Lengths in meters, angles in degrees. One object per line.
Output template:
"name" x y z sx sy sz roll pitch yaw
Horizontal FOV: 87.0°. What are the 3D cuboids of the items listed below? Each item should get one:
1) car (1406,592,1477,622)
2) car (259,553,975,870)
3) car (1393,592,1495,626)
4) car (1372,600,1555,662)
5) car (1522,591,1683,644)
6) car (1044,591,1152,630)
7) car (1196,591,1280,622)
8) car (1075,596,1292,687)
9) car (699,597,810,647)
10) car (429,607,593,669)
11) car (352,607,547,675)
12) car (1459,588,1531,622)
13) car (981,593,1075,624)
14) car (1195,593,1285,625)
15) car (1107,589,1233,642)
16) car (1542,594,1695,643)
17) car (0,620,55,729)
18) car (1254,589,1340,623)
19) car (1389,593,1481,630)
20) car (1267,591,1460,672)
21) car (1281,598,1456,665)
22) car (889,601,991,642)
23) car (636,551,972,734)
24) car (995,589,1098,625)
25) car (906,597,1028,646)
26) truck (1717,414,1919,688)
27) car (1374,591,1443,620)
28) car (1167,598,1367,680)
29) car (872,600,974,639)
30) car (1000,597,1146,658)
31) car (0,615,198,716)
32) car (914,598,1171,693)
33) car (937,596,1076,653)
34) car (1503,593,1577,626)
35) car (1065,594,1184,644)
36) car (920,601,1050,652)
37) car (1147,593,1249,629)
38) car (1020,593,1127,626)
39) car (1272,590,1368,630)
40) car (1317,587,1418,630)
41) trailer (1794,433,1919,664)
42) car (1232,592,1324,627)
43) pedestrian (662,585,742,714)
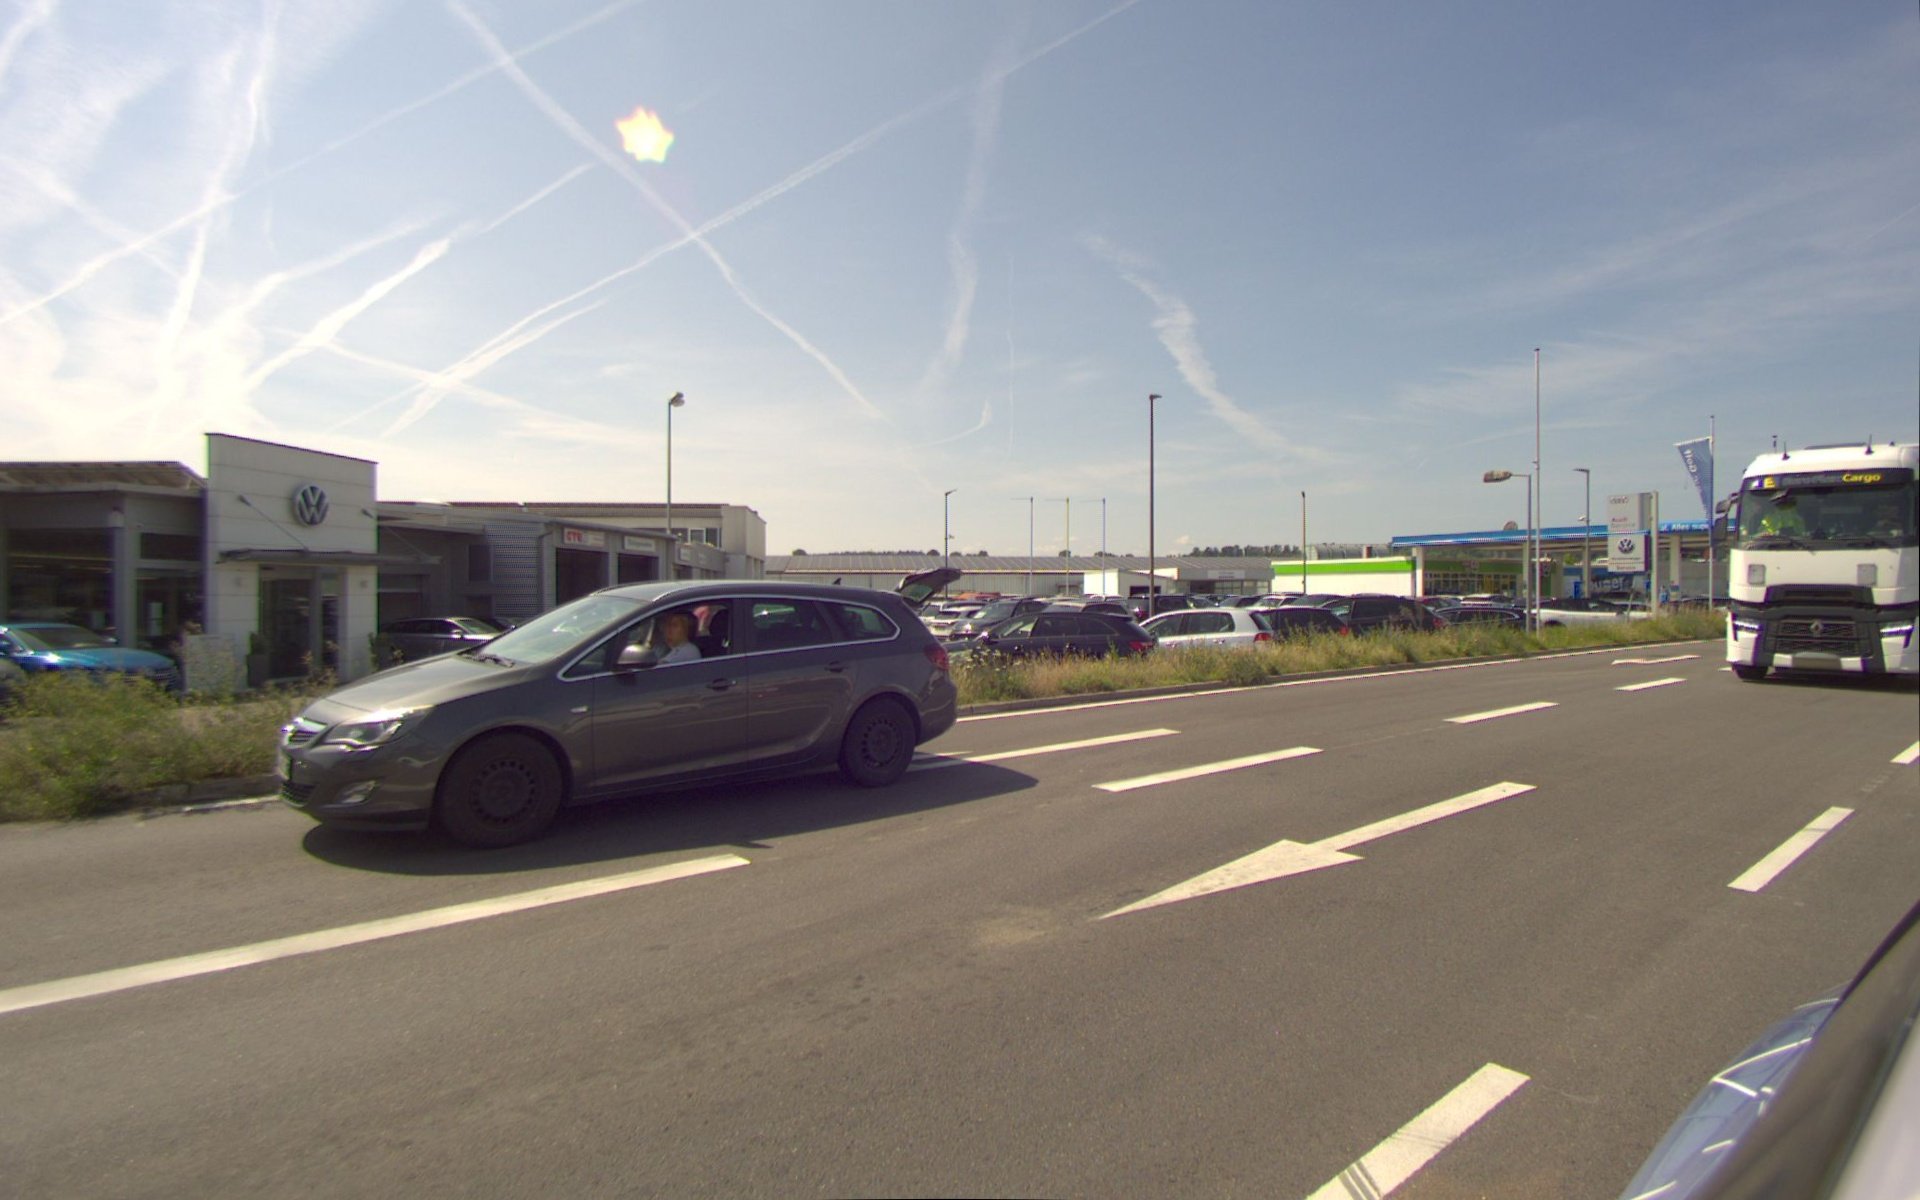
"car" 26.870 0.353 56.490 4.158 1.600 1.776 0 1 -35
"car" -2.161 0.514 7.144 4.374 1.538 1.996 0 1 -42
"car" 25.075 0.429 52.565 1.742 1.600 4.540 0 1 -33
"car" 14.420 0.836 29.266 4.479 1.600 1.765 1 1 19
"car" 22.324 0.569 35.388 4.488 1.675 1.762 1 1 24
"car" 5.792 0.423 42.652 4.118 1.560 1.827 0 1 -19
"car" 15.605 0.374 56.800 4.444 1.675 1.779 0 1 -25
"car" 4.383 0.742 19.843 3.953 1.578 1.700 1 1 22
"car" -8.831 0.894 43.475 4.484 1.973 1.763 1 1 22
"car" -13.177 1.079 29.837 4.095 1.675 1.775 1 1 4
"car" -13.828 1.087 27.561 4.468 1.675 1.775 1 1 4
"car" 28.861 0.241 54.543 4.179 1.734 1.714 0 1 -35
"car" 3.458 0.412 51.771 4.442 1.493 1.827 0 1 -19
"car" 13.566 0.416 48.891 4.452 1.459 1.776 0 1 -35
"car" 7.269 0.487 34.792 4.454 1.675 1.775 0 1 -38
"car" 24.225 0.641 37.419 4.490 1.675 1.761 1 1 25
"car" -15.369 1.027 14.140 4.142 1.475 1.890 1 1 9
"car" 17.383 0.293 52.204 4.448 1.675 1.777 0 1 -32
"car" 21.488 0.484 45.738 4.452 1.600 1.776 0 1 -35
"car" 9.120 0.672 23.210 3.946 1.675 1.766 1 1 17
"car" 10.263 0.743 25.537 3.957 1.476 1.761 1 1 25
"car" -0.826 0.900 44.429 4.464 1.675 1.771 0 1 -45
"car" -2.142 0.476 13.973 4.295 2.240 1.752 1 1 20
"car" 4.081 0.325 47.827 4.442 1.603 1.827 0 1 -19
"car" 0.309 0.786 38.788 4.452 1.751 1.823 0 1 -35
"truck" 15.715 -0.758 17.655 5.933 4.036 2.646 0 1 -39
"car" 26.101 0.302 58.842 4.242 1.600 1.722 0 1 -35
"car" 6.493 0.784 21.770 3.941 1.572 1.768 1 1 14
"car" -1.684 0.854 46.817 4.453 1.675 1.776 0 1 -36
"car" 3.501 0.755 30.742 4.633 1.675 1.904 0 1 -45
"car" -15.121 1.019 16.672 4.046 1.428 1.819 1 1 9
"car" 1.495 0.741 18.018 4.285 1.470 1.766 1 1 18
"car" 1.559 0.718 32.604 4.464 1.675 1.965 0 1 -45
"car" 30.148 0.464 52.541 4.069 1.600 1.776 0 1 -35
"car" 6.009 0.652 36.718 4.352 1.675 1.775 0 1 -38
"car" 0.937 0.878 35.999 4.452 1.675 1.776 0 1 -36
"car" 10.667 0.449 45.604 1.910 1.477 4.544 0 1 -29
"car" 5.107 0.419 45.501 4.390 1.449 1.827 0 1 -19
"car" 15.902 0.412 44.631 4.452 1.675 1.776 0 1 -35
"car" 17.054 0.338 42.296 4.452 1.675 1.776 0 1 -35
"trailer" 21.722 -0.971 22.692 11.090 4.280 2.613 0 1 -40
"car" 14.747 0.423 46.858 4.452 1.545 1.691 0 1 -35
"pedestrian" -4.015 0.740 15.783 0.975 1.935 0.740 1 0 16
